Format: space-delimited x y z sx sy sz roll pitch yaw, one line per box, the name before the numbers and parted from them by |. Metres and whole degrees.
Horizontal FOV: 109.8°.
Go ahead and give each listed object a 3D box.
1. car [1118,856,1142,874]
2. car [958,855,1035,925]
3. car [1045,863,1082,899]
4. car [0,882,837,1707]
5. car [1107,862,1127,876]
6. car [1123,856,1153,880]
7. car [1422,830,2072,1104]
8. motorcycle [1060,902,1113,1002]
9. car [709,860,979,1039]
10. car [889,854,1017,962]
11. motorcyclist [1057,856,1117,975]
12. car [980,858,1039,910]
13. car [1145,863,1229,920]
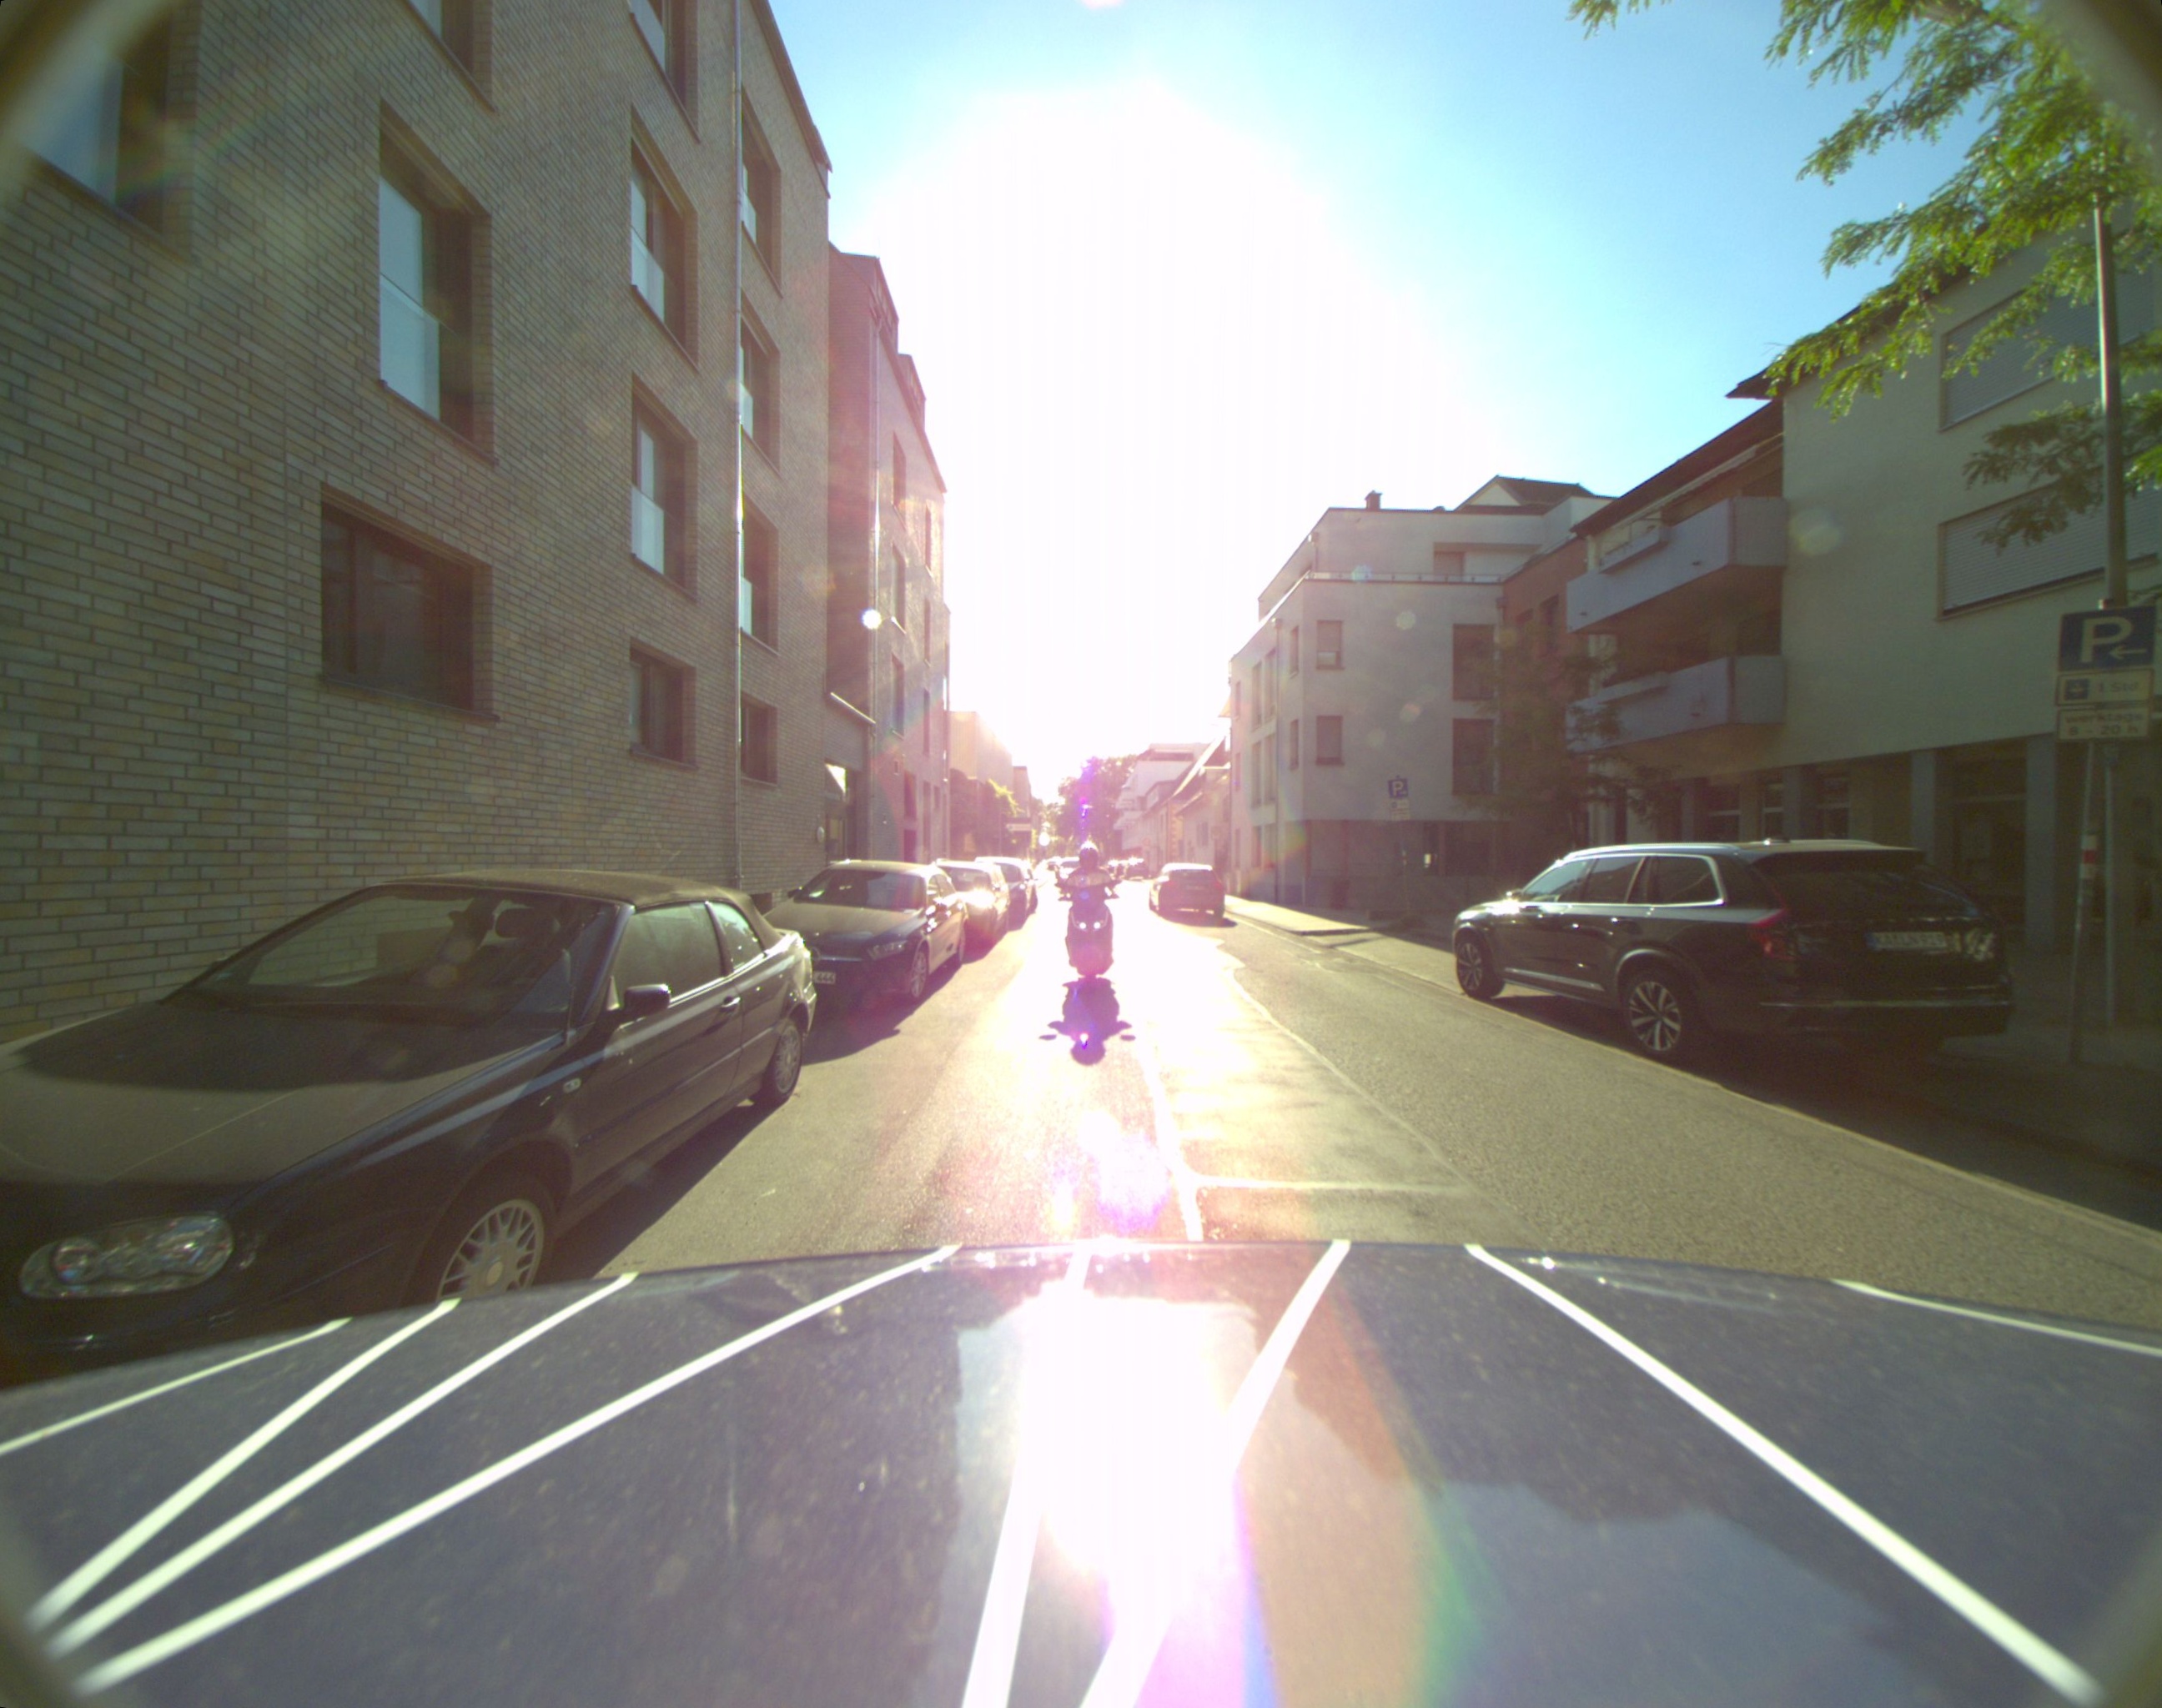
car | 4.550 1.037 71.026 1.999 1.613 4.000 0 0 0
car | -2.101 0.859 19.873 1.655 1.582 4.341 1 0 -2
car | -0.853 1.298 37.754 1.708 1.569 3.915 -2 0 -1
car | -2.605 0.978 3.457 1.668 1.507 4.218 1 0 -1
car | 3.810 1.557 81.036 1.999 1.458 4.000 0 0 0
car | 4.622 1.109 62.195 1.999 1.619 4.000 -7 0 0
car | 5.484 0.736 7.503 1.936 1.695 5.100 -3 0 1
motorcycle | 0.074 1.160 9.445 0.598 1.004 1.821 0 0 1
car | -2.500 0.905 9.316 1.729 1.520 4.626 3 0 1
car | -2.261 0.865 14.625 1.671 1.723 4.839 0 0 0
motorcyclist | 0.081 0.740 9.473 0.717 1.424 0.746 0 1 1
car | -2.226 0.889 24.341 1.732 1.515 3.653 0 0 -3
car | 2.987 1.006 22.181 1.812 1.458 3.999 0 0 -2
